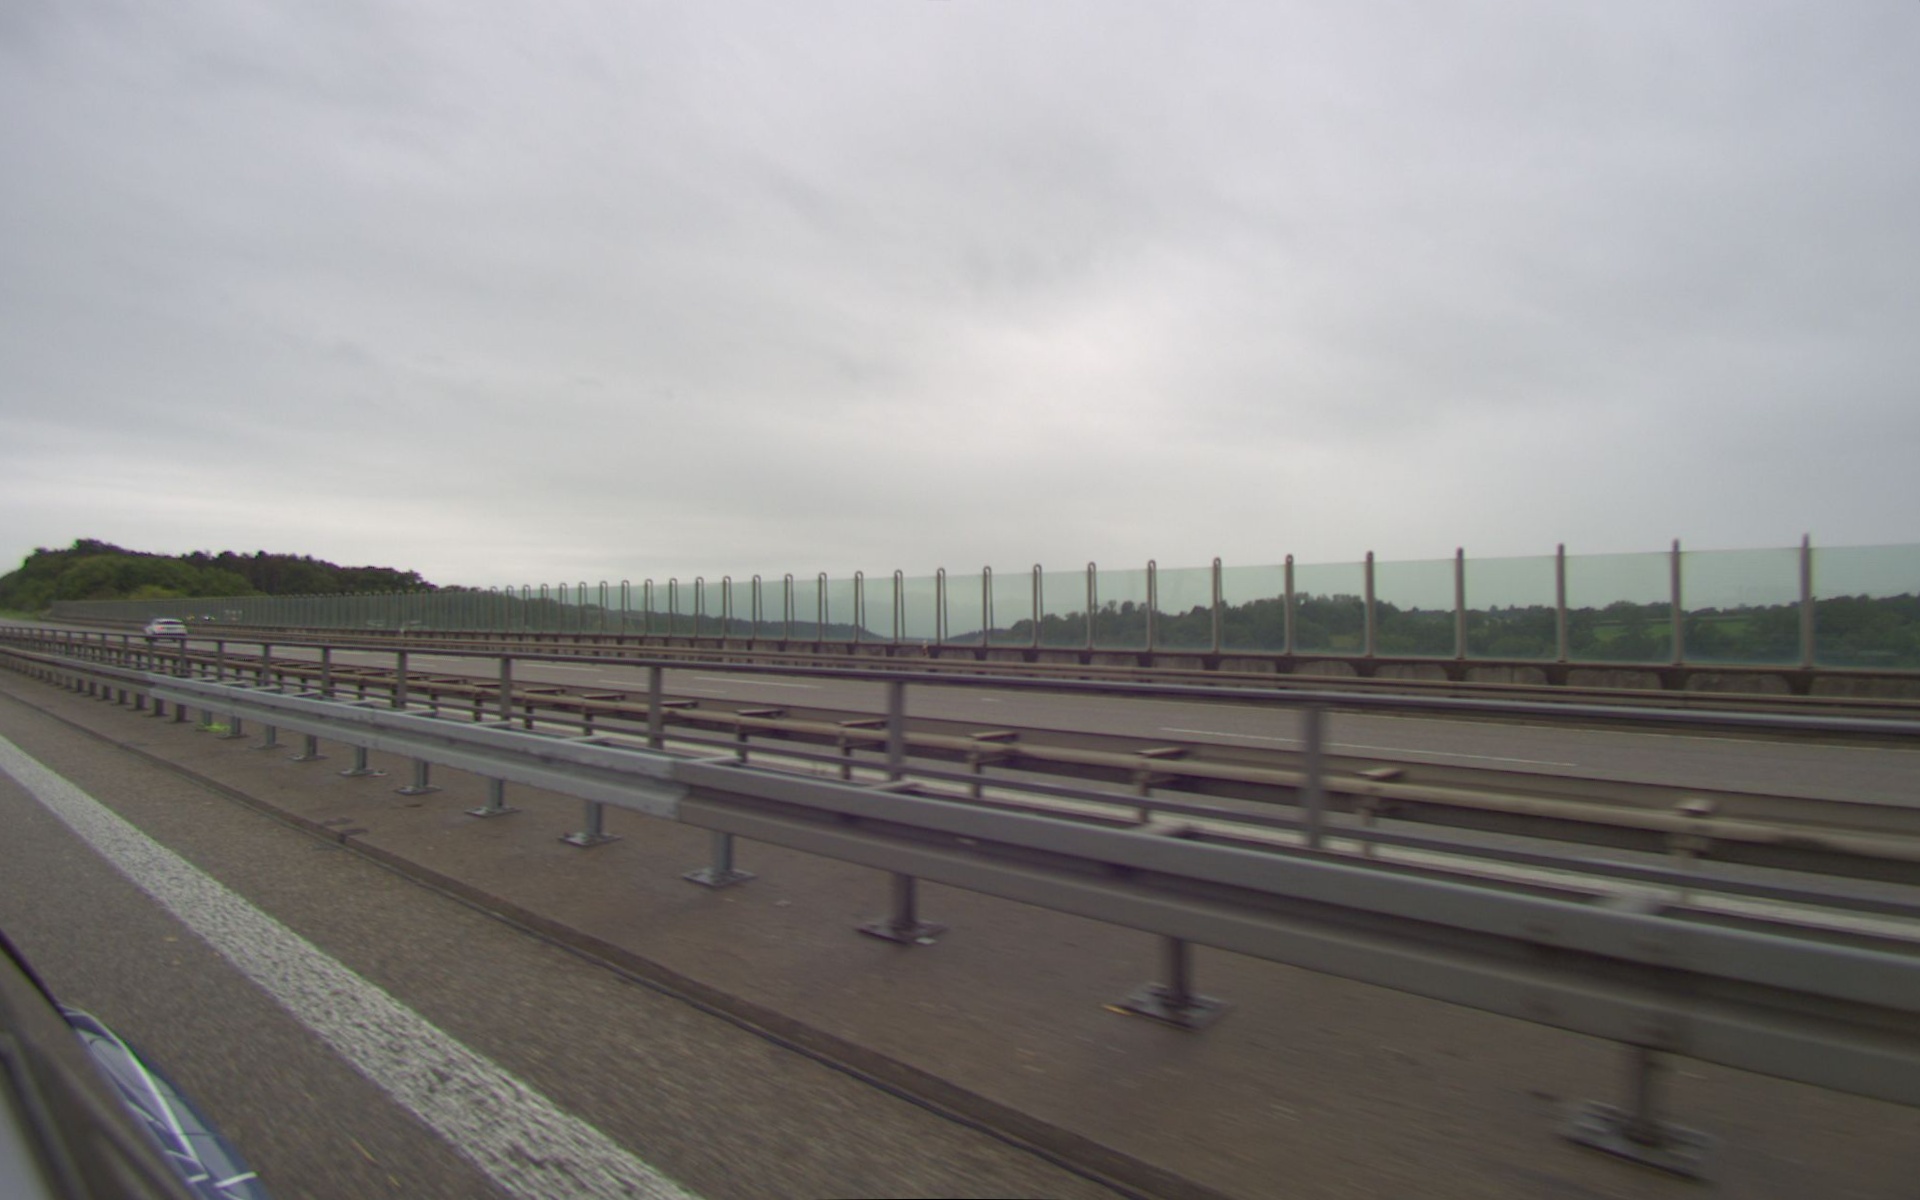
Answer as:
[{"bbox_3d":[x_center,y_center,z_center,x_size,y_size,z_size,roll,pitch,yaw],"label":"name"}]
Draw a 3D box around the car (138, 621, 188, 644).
[{"bbox_3d":[-57.583,2.336,73.108,4.711,1.642,1.972,-1,-2,41],"label":"car"}]
